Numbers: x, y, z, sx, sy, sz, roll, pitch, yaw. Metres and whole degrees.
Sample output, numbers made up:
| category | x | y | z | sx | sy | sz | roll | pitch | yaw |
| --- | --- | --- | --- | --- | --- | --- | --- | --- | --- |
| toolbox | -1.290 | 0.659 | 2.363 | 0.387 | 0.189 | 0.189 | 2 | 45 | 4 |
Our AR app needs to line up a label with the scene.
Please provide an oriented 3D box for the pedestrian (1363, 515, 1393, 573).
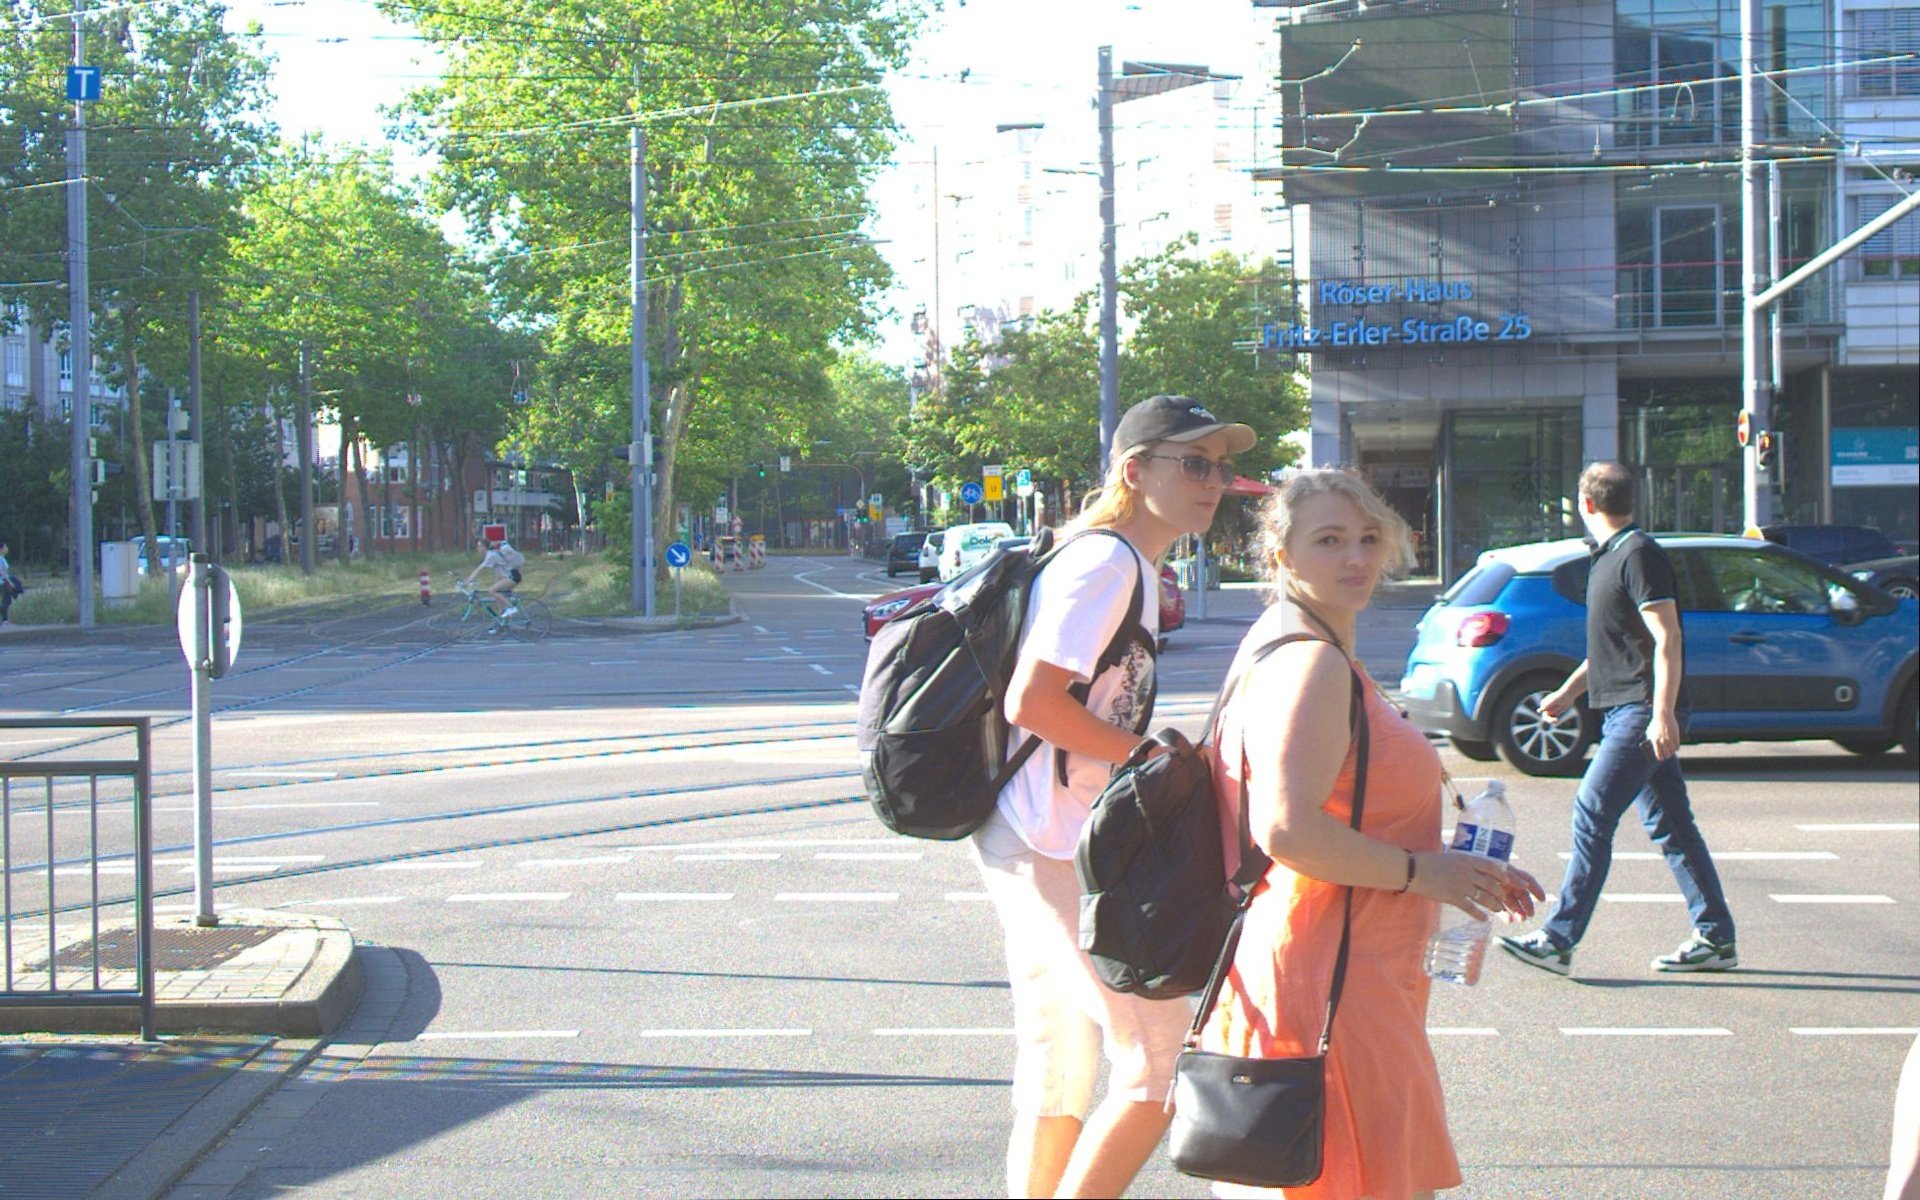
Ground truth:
| category | x | y | z | sx | sy | sz | roll | pitch | yaw |
| --- | --- | --- | --- | --- | --- | --- | --- | --- | --- |
| pedestrian | 10.724 | -1.435 | 88.159 | 0.739 | 1.460 | 0.536 | -1 | 1 | 9 |

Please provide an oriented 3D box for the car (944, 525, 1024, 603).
| category | x | y | z | sx | sy | sz | roll | pitch | yaw |
| --- | --- | --- | --- | --- | --- | --- | --- | --- | --- |
| car | 0.608 | -0.964 | 90.016 | 1.993 | 1.985 | 4.000 | -1 | 1 | -1 |

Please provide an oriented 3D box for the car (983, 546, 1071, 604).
| category | x | y | z | sx | sy | sz | roll | pitch | yaw |
| --- | --- | --- | --- | --- | --- | --- | --- | --- | --- |
| car | 1.599 | -0.620 | 83.181 | 1.993 | 1.327 | 4.000 | -1 | 1 | -1 |

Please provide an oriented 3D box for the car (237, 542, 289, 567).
| category | x | y | z | sx | sy | sz | roll | pitch | yaw |
| --- | --- | --- | --- | --- | --- | --- | --- | --- | --- |
| car | -44.093 | -2.865 | 217.571 | 1.994 | 1.503 | 3.999 | -1 | 1 | 7 |

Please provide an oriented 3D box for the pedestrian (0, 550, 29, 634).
| category | x | y | z | sx | sy | sz | roll | pitch | yaw |
| --- | --- | --- | --- | --- | --- | --- | --- | --- | --- |
| pedestrian | -17.504 | -0.151 | 63.038 | 0.754 | 1.525 | 0.508 | 0 | 1 | -7 |

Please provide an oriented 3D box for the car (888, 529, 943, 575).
| category | x | y | z | sx | sy | sz | roll | pitch | yaw |
| --- | --- | --- | --- | --- | --- | --- | --- | --- | --- |
| car | -1.635 | -1.791 | 127.042 | 1.993 | 1.656 | 4.000 | -1 | 1 | -1 |

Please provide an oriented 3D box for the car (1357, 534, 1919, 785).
| category | x | y | z | sx | sy | sz | roll | pitch | yaw |
| --- | --- | --- | --- | --- | --- | --- | --- | --- | --- |
| car | 4.677 | 0.336 | 21.882 | 3.953 | 1.451 | 2.000 | -1 | 1 | -4 |

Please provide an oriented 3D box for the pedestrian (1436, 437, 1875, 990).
| category | x | y | z | sx | sy | sz | roll | pitch | yaw |
| --- | --- | --- | --- | --- | --- | --- | --- | --- | --- |
| pedestrian | 2.379 | 0.375 | 11.906 | 1.208 | 1.816 | 1.042 | 1 | 0 | -6 |

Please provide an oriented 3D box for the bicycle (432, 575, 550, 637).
| category | x | y | z | sx | sy | sz | roll | pitch | yaw |
| --- | --- | --- | --- | --- | --- | --- | --- | --- | --- |
| bicycle | -7.080 | 0.089 | 51.938 | 1.741 | 0.896 | 0.409 | -1 | 1 | -5 |

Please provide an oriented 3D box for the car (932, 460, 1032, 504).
| category | x | y | z | sx | sy | sz | roll | pitch | yaw |
| --- | --- | --- | --- | --- | --- | --- | --- | --- | --- |
| car | 0.924 | -4.863 | 141.538 | 3.764 | 1.744 | 1.780 | 1 | 1 | 14 |

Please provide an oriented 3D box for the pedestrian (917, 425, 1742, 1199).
| category | x | y | z | sx | sy | sz | roll | pitch | yaw |
| --- | --- | --- | --- | --- | --- | --- | --- | --- | --- |
| pedestrian | 0.518 | 0.599 | 5.202 | 1.072 | 1.676 | 0.758 | 1 | 0 | -7 |

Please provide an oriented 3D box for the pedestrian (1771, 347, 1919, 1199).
| category | x | y | z | sx | sy | sz | roll | pitch | yaw |
| --- | --- | --- | --- | --- | --- | --- | --- | --- | --- |
| pedestrian | 2.368 | 0.460 | 7.004 | 1.145 | 1.887 | 0.833 | 1 | 0 | -7 |

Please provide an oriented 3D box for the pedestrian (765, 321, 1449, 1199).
| category | x | y | z | sx | sy | sz | roll | pitch | yaw |
| --- | --- | --- | --- | --- | --- | --- | --- | --- | --- |
| pedestrian | 0.227 | 0.478 | 6.085 | 1.073 | 1.865 | 0.739 | 1 | 0 | -7 |

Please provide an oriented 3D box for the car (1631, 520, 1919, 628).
| category | x | y | z | sx | sy | sz | roll | pitch | yaw |
| --- | --- | --- | --- | --- | --- | --- | --- | --- | --- |
| car | 12.081 | -0.403 | 50.845 | 3.859 | 1.502 | 1.796 | -1 | 1 | -7 |

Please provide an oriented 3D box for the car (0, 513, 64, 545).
| category | x | y | z | sx | sy | sz | roll | pitch | yaw |
| --- | --- | --- | --- | --- | --- | --- | --- | --- | --- |
| car | -47.268 | -3.595 | 172.929 | 3.987 | 1.547 | 1.607 | 1 | 1 | -31 |

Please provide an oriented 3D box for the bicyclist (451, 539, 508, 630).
| category | x | y | z | sx | sy | sz | roll | pitch | yaw |
| --- | --- | --- | --- | --- | --- | --- | --- | --- | --- |
| bicyclist | -7.254 | -0.241 | 51.915 | 0.819 | 1.362 | 0.400 | -1 | 1 | -6 |

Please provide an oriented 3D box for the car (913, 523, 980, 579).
| category | x | y | z | sx | sy | sz | roll | pitch | yaw |
| --- | --- | --- | --- | --- | --- | --- | --- | --- | --- |
| car | -0.420 | -1.504 | 105.326 | 1.993 | 1.656 | 4.000 | -1 | 1 | -1 |

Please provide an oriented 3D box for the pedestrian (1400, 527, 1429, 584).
| category | x | y | z | sx | sy | sz | roll | pitch | yaw |
| --- | --- | --- | --- | --- | --- | --- | --- | --- | --- |
| pedestrian | 11.628 | -1.142 | 87.949 | 0.706 | 1.460 | 0.384 | -1 | 1 | 9 |

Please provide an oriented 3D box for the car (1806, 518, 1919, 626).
| category | x | y | z | sx | sy | sz | roll | pitch | yaw |
| --- | --- | --- | --- | --- | --- | --- | --- | --- | --- |
| car | 14.057 | -0.424 | 47.445 | 4.239 | 1.429 | 1.796 | -1 | 1 | -10 |

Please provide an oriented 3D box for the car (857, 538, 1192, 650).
| category | x | y | z | sx | sy | sz | roll | pitch | yaw |
| --- | --- | --- | --- | --- | --- | --- | --- | --- | --- |
| car | 0.838 | -0.096 | 45.968 | 4.240 | 1.387 | 1.796 | -1 | 1 | -7 |
